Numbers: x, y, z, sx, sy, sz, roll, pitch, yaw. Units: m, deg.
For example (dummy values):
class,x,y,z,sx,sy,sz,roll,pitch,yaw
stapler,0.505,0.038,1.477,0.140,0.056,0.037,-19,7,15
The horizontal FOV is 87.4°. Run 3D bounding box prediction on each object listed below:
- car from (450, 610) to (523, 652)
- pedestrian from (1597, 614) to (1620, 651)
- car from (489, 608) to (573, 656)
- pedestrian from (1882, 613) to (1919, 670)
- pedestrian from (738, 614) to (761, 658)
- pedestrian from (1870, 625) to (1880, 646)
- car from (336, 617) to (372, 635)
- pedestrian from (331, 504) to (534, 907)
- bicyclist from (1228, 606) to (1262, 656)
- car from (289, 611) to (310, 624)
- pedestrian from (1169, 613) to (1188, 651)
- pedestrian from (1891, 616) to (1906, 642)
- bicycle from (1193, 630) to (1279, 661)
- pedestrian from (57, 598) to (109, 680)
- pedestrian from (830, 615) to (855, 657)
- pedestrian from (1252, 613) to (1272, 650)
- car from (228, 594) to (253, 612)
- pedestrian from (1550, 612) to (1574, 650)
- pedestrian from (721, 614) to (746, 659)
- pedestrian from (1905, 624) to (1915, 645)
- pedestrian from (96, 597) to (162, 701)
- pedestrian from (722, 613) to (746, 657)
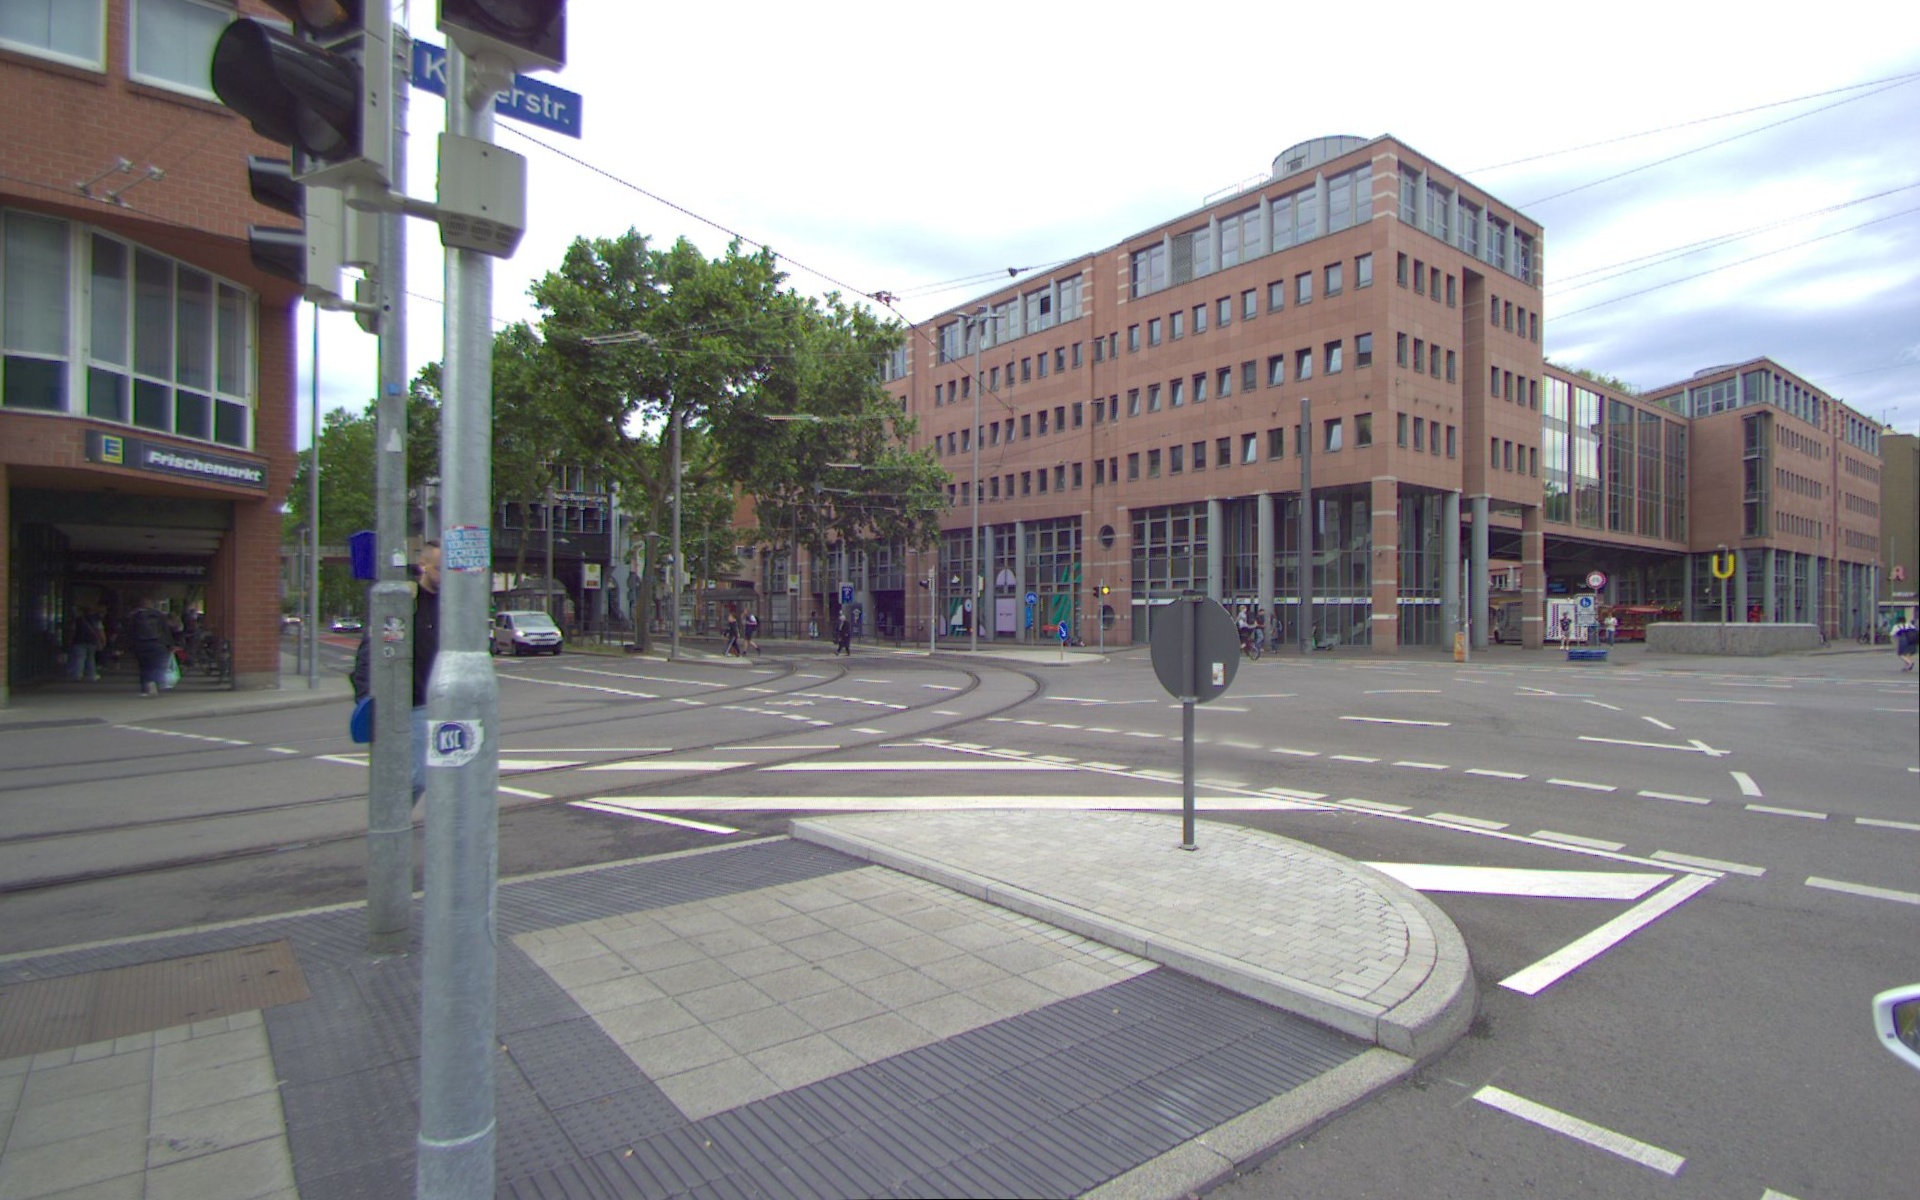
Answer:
class,x,y,z,sx,sy,sz,roll,pitch,yaw
car,-21.493,1.390,45.534,1.915,1.817,3.949,1,-1,-43
pedestrian,33.372,1.663,51.676,0.723,1.866,0.699,1,0,-19
car,-17.383,1.268,40.642,1.915,1.817,3.949,1,-1,-43
pedestrian,29.403,1.270,31.176,0.723,1.727,0.925,1,0,-18
pedestrian,-8.114,1.389,38.764,0.566,1.633,0.626,1,-1,44
pedestrian,77.095,2.976,84.605,0.594,1.737,0.651,1,0,45
car,-52.392,2.233,86.797,1.915,1.584,3.821,1,-1,-43
pedestrian,-2.766,0.513,5.272,0.793,1.915,0.605,2,-1,-40
bicyclist,10.552,1.143,37.193,0.829,1.836,0.868,1,0,-36
car,-83.994,2.201,127.772,1.667,1.568,3.659,1,-1,-43
pedestrian,9.928,1.451,45.636,0.730,1.710,0.574,1,-1,26
pedestrian,56.117,1.738,60.061,0.594,1.557,0.651,1,0,45
bicycle,10.286,1.672,37.573,0.896,1.058,3.244,1,-1,-36
pedestrian,-18.850,0.829,21.583,0.793,1.706,0.737,2,0,-42
pedestrian,-4.567,1.393,39.032,0.736,1.581,0.569,2,-1,-33
pedestrian,13.247,1.369,44.063,0.730,1.581,0.574,1,-1,26
car,-78.937,0.349,110.196,1.913,1.817,3.663,1,-1,-40
pedestrian,29.702,1.518,49.600,0.723,1.866,0.699,1,0,-19
pedestrian,-8.212,1.315,36.427,0.566,1.595,0.626,1,-1,44
pedestrian,76.990,2.788,81.387,0.594,1.737,0.651,1,0,45
pedestrian,-14.124,0.818,17.064,0.793,1.706,0.737,2,0,-42
pedestrian,-8.492,1.310,37.701,0.566,1.633,0.626,1,-1,44
